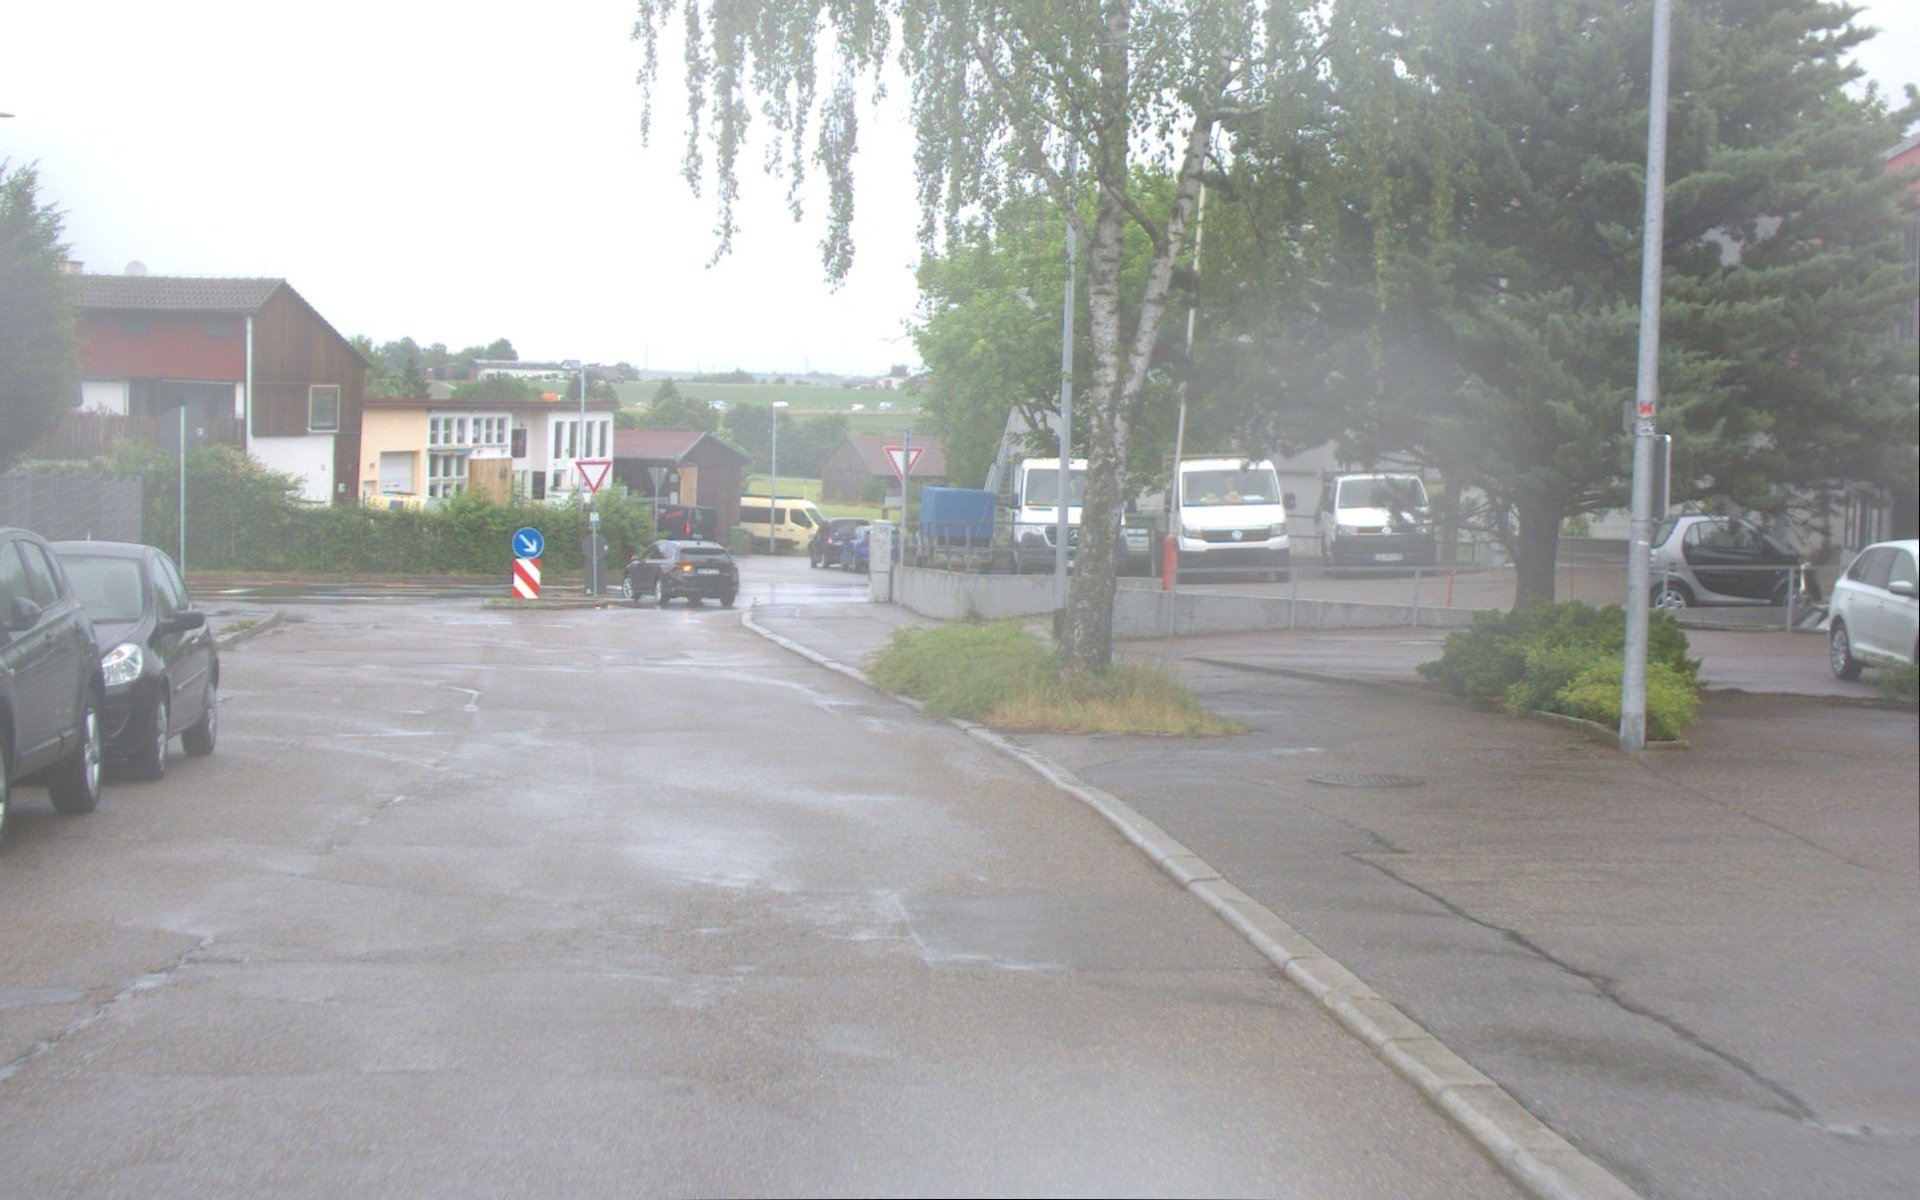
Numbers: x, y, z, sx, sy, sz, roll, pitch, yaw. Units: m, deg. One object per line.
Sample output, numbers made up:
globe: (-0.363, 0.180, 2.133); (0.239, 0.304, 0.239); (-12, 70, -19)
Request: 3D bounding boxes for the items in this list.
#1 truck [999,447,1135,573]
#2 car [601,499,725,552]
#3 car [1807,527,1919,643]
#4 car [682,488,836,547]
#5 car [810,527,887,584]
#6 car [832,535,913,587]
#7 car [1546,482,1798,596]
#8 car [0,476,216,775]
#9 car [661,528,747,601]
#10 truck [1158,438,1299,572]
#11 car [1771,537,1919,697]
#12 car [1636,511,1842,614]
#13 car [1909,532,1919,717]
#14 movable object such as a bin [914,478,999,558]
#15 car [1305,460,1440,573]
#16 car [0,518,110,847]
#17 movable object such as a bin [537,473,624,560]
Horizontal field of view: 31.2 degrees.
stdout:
truck: (1.932, -1.666, 64.051); (2.105, 2.206, 5.654); (1, 1, -2)
car: (-11.030, -2.785, 127.695); (4.405, 1.898, 1.996); (2, 1, 38)
car: (12.942, -0.192, 45.622); (3.035, 1.490, 1.630); (1, 1, 4)
car: (-8.490, -3.481, 145.326); (6.014, 2.406, 2.461); (1, 1, 16)
car: (-3.789, -1.520, 116.208); (2.073, 1.828, 4.472); (1, 1, -9)
car: (-2.818, -1.267, 110.050); (1.951, 1.604, 4.448); (1, 1, -10)
car: (11.722, -1.023, 56.815); (3.925, 1.732, 1.858); (-1, 3, 8)
car: (-5.968, 0.108, 22.638); (1.739, 1.791, 3.960); (1, 1, -7)
car: (-5.640, -0.805, 75.510); (1.755, 1.529, 4.001); (1, 1, -6)
truck: (4.917, -1.740, 63.622); (2.242, 2.334, 4.837); (1, 1, 1)
car: (9.747, 0.122, 34.445); (1.903, 1.465, 4.330); (0, 2, -5)
car: (11.219, -0.548, 49.622); (2.712, 1.441, 1.678); (0, 1, 6)
car: (8.950, 0.285, 27.719); (1.997, 1.573, 4.510); (3, 2, 10)
movable object such as a bin: (-0.080, -1.581, 66.554); (1.306, 1.495, 1.859); (1, 1, -11)
car: (7.687, -1.560, 64.420); (2.056, 2.007, 4.938); (1, 1, 2)
car: (-5.451, 0.353, 17.374); (1.632, 1.552, 4.085); (1, 1, -5)
movable object such as a bin: (-11.471, -2.521, 104.146); (1.733, 2.547, 3.338); (1, 1, 10)
